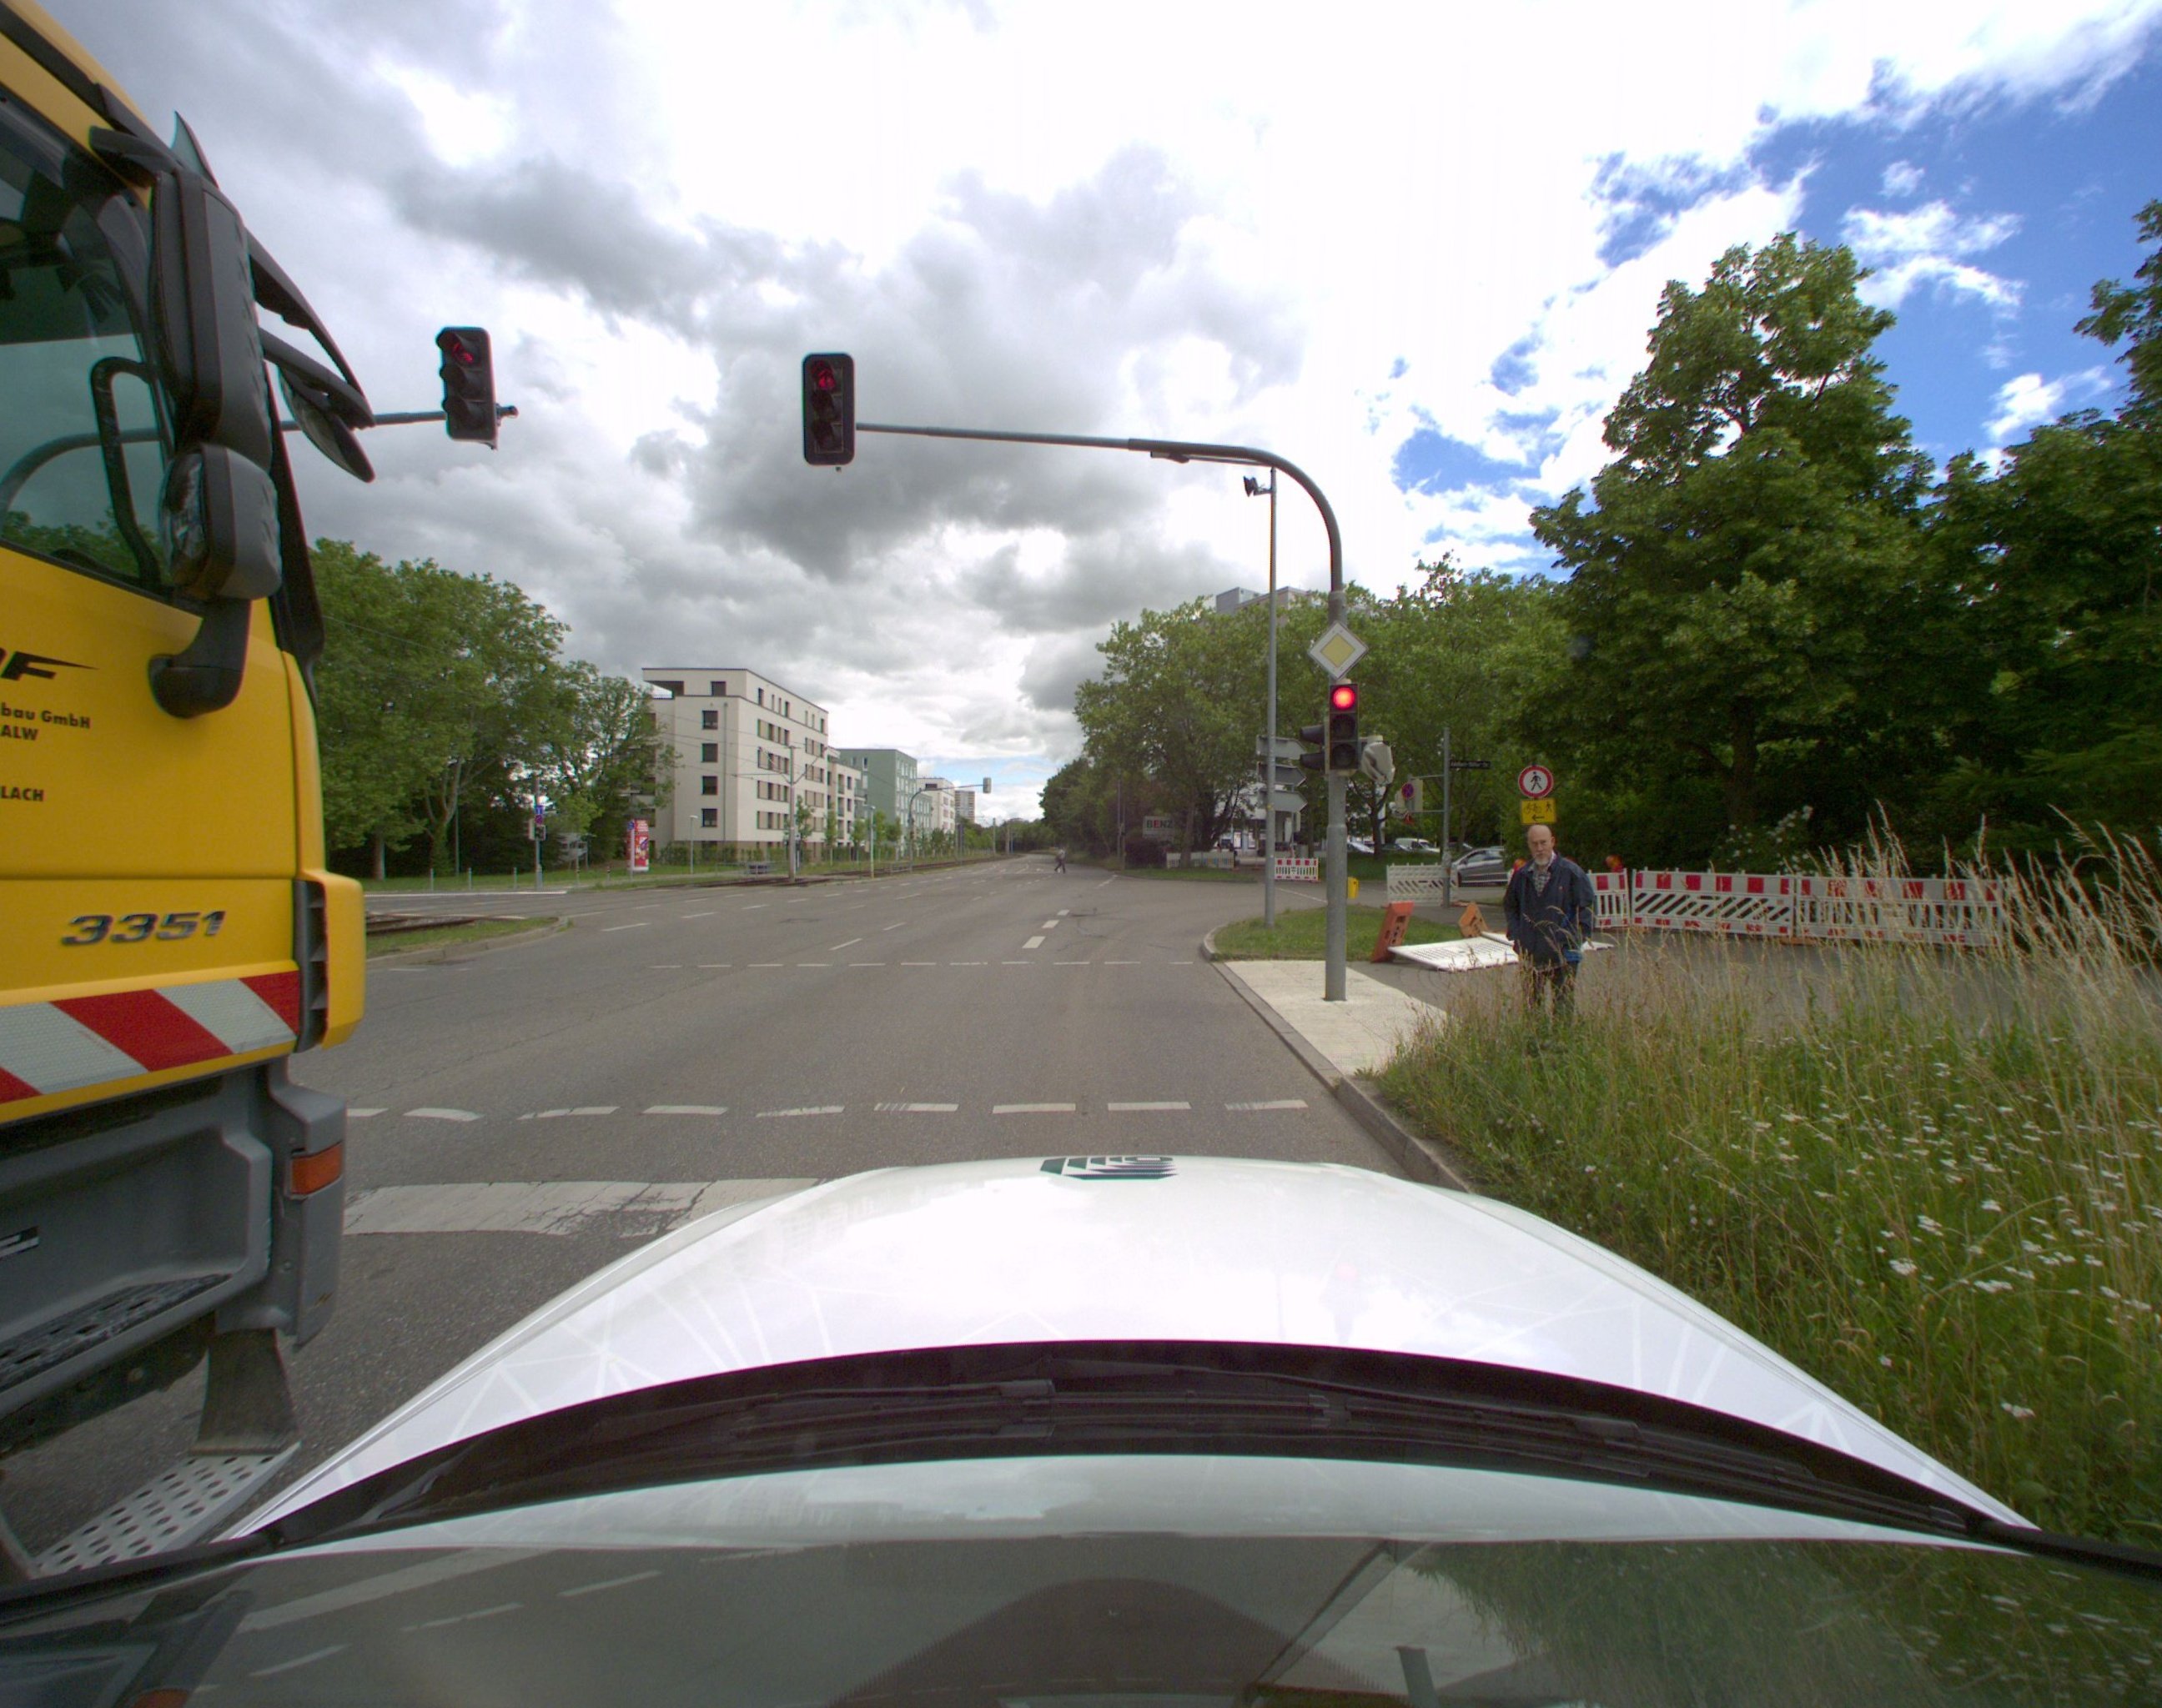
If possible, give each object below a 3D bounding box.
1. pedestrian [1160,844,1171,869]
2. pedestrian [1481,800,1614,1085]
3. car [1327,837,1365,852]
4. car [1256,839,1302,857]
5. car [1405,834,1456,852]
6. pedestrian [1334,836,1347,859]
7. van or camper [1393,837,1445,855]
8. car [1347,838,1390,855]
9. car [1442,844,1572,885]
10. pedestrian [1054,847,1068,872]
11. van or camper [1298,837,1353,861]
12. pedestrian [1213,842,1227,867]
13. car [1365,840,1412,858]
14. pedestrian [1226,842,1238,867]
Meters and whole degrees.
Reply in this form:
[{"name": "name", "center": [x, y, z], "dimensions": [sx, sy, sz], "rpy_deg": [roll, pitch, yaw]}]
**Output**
[{"name": "pedestrian", "center": [5.404, 0.170, 51.934], "dimensions": [0.650, 1.539, 0.774], "rpy_deg": [0, -1, 6]}, {"name": "pedestrian", "center": [3.188, 0.537, 5.569], "dimensions": [0.719, 1.740, 0.962], "rpy_deg": [-1, 0, 31]}, {"name": "car", "center": [25.310, -0.898, 77.808], "dimensions": [1.489, 1.404, 3.377], "rpy_deg": [0, -1, -29]}, {"name": "car", "center": [17.517, -0.496, 72.278], "dimensions": [1.736, 1.500, 4.234], "rpy_deg": [0, -1, -24]}, {"name": "car", "center": [29.185, -0.886, 68.156], "dimensions": [1.489, 1.465, 3.856], "rpy_deg": [0, -1, -29]}, {"name": "pedestrian", "center": [22.341, -0.563, 70.222], "dimensions": [0.802, 2.002, 0.852], "rpy_deg": [0, -1, -3]}, {"name": "van or camper", "center": [27.475, -0.656, 66.284], "dimensions": [1.523, 1.356, 3.738], "rpy_deg": [0, -1, -31]}, {"name": "car", "center": [28.020, -0.771, 79.403], "dimensions": [1.677, 1.634, 3.787], "rpy_deg": [0, 1, -28]}, {"name": "car", "center": [17.382, 0.435, 33.356], "dimensions": [4.379, 1.586, 1.774], "rpy_deg": [0, -1, 2]}, {"name": "pedestrian", "center": [-1.296, 0.324, 52.359], "dimensions": [0.844, 1.586, 0.797], "rpy_deg": [0, -1, 4]}, {"name": "van or camper", "center": [18.476, -0.383, 61.729], "dimensions": [1.849, 1.684, 3.967], "rpy_deg": [-1, 0, -25]}, {"name": "pedestrian", "center": [8.415, 0.031, 49.149], "dimensions": [0.691, 1.489, 0.691], "rpy_deg": [-1, -1, 20]}, {"name": "car", "center": [24.316, -0.377, 64.526], "dimensions": [1.488, 1.404, 3.378], "rpy_deg": [0, -1, -27]}, {"name": "pedestrian", "center": [9.024, 0.032, 48.686], "dimensions": [0.692, 1.489, 0.723], "rpy_deg": [-1, -1, 13]}]
